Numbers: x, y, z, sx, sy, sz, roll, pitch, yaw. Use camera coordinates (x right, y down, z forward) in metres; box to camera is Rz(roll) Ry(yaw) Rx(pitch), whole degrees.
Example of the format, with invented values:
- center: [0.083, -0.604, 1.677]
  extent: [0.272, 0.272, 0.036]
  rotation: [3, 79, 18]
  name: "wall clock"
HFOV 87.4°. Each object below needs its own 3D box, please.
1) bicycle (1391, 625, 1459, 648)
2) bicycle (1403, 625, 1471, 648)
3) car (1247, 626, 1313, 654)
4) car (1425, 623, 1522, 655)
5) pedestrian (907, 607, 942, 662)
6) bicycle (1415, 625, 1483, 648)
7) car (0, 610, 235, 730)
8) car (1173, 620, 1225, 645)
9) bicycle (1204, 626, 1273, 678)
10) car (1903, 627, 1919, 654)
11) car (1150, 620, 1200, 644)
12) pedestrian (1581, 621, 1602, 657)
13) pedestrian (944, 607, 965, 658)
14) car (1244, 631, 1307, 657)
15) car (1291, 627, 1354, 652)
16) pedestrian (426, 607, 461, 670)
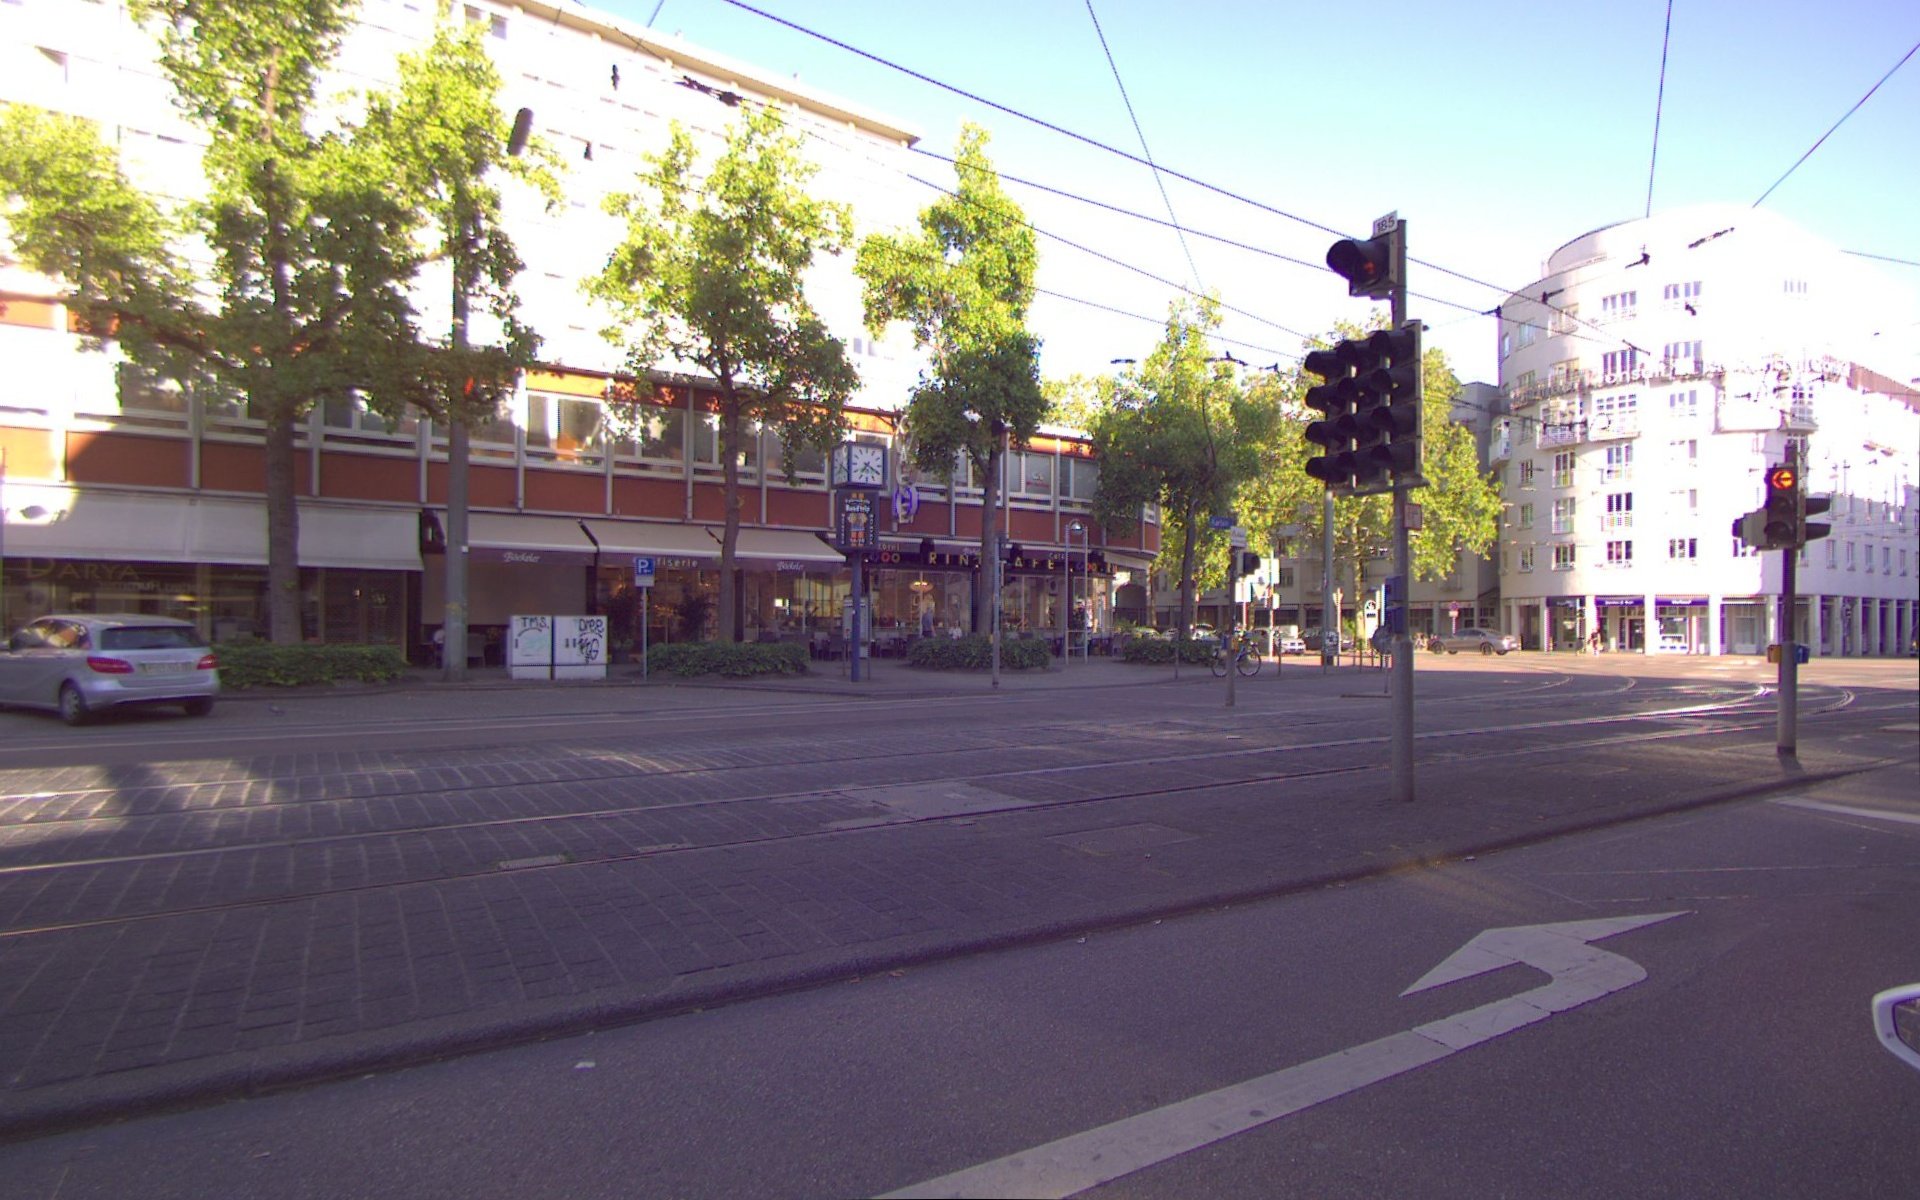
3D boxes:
- center: [32.888, 2.563, 71.119]
  extent: [1.053, 1.550, 4.684]
  rotation: [1, -2, -29]
  name: "bicycle"
- center: [33.919, 2.569, 71.583]
  extent: [1.053, 1.550, 4.684]
  rotation: [1, -2, -29]
  name: "bicycle"
- center: [18.674, 2.297, 58.805]
  extent: [1.605, 1.579, 4.001]
  rotation: [0, -2, -19]
  name: "car"
- center: [28.026, 2.095, 54.925]
  extent: [1.689, 1.662, 4.409]
  rotation: [1, -2, -39]
  name: "car"
- center: [-1.136, 1.087, 32.192]
  extent: [0.866, 1.745, 0.700]
  rotation: [0, 1, -34]
  name: "pedestrian"
- center: [35.211, 2.609, 72.411]
  extent: [1.053, 1.550, 4.684]
  rotation: [1, -2, -29]
  name: "bicycle"
- center: [-13.574, 0.997, 15.727]
  extent: [4.200, 1.587, 1.825]
  rotation: [1, -1, 26]
  name: "car"
- center: [19.855, 2.690, 83.408]
  extent: [3.954, 1.990, 1.984]
  rotation: [1, -1, -31]
  name: "car"
- center: [7.643, 1.411, 27.538]
  extent: [1.884, 1.345, 0.667]
  rotation: [1, 2, -30]
  name: "bicycle"
- center: [58.385, 2.442, 60.310]
  extent: [3.423, 1.566, 1.756]
  rotation: [1, -2, -32]
  name: "car"
- center: [18.374, 2.729, 85.918]
  extent: [3.954, 1.990, 1.984]
  rotation: [1, -1, -31]
  name: "car"
- center: [36.120, 2.234, 57.470]
  extent: [0.930, 2.040, 0.939]
  rotation: [0, -1, 30]
  name: "pedestrian"
- center: [-0.202, 1.133, 34.968]
  extent: [0.590, 1.745, 0.647]
  rotation: [0, 1, -14]
  name: "pedestrian"
- center: [16.810, 2.307, 53.692]
  extent: [1.738, 1.312, 4.014]
  rotation: [0, -2, -7]
  name: "car"
- center: [24.105, 2.606, 66.921]
  extent: [1.595, 1.551, 3.973]
  rotation: [0, -1, -27]
  name: "car"
- center: [-13.376, 0.995, 26.002]
  extent: [0.699, 1.584, 0.867]
  rotation: [1, -1, -33]
  name: "pedestrian"
